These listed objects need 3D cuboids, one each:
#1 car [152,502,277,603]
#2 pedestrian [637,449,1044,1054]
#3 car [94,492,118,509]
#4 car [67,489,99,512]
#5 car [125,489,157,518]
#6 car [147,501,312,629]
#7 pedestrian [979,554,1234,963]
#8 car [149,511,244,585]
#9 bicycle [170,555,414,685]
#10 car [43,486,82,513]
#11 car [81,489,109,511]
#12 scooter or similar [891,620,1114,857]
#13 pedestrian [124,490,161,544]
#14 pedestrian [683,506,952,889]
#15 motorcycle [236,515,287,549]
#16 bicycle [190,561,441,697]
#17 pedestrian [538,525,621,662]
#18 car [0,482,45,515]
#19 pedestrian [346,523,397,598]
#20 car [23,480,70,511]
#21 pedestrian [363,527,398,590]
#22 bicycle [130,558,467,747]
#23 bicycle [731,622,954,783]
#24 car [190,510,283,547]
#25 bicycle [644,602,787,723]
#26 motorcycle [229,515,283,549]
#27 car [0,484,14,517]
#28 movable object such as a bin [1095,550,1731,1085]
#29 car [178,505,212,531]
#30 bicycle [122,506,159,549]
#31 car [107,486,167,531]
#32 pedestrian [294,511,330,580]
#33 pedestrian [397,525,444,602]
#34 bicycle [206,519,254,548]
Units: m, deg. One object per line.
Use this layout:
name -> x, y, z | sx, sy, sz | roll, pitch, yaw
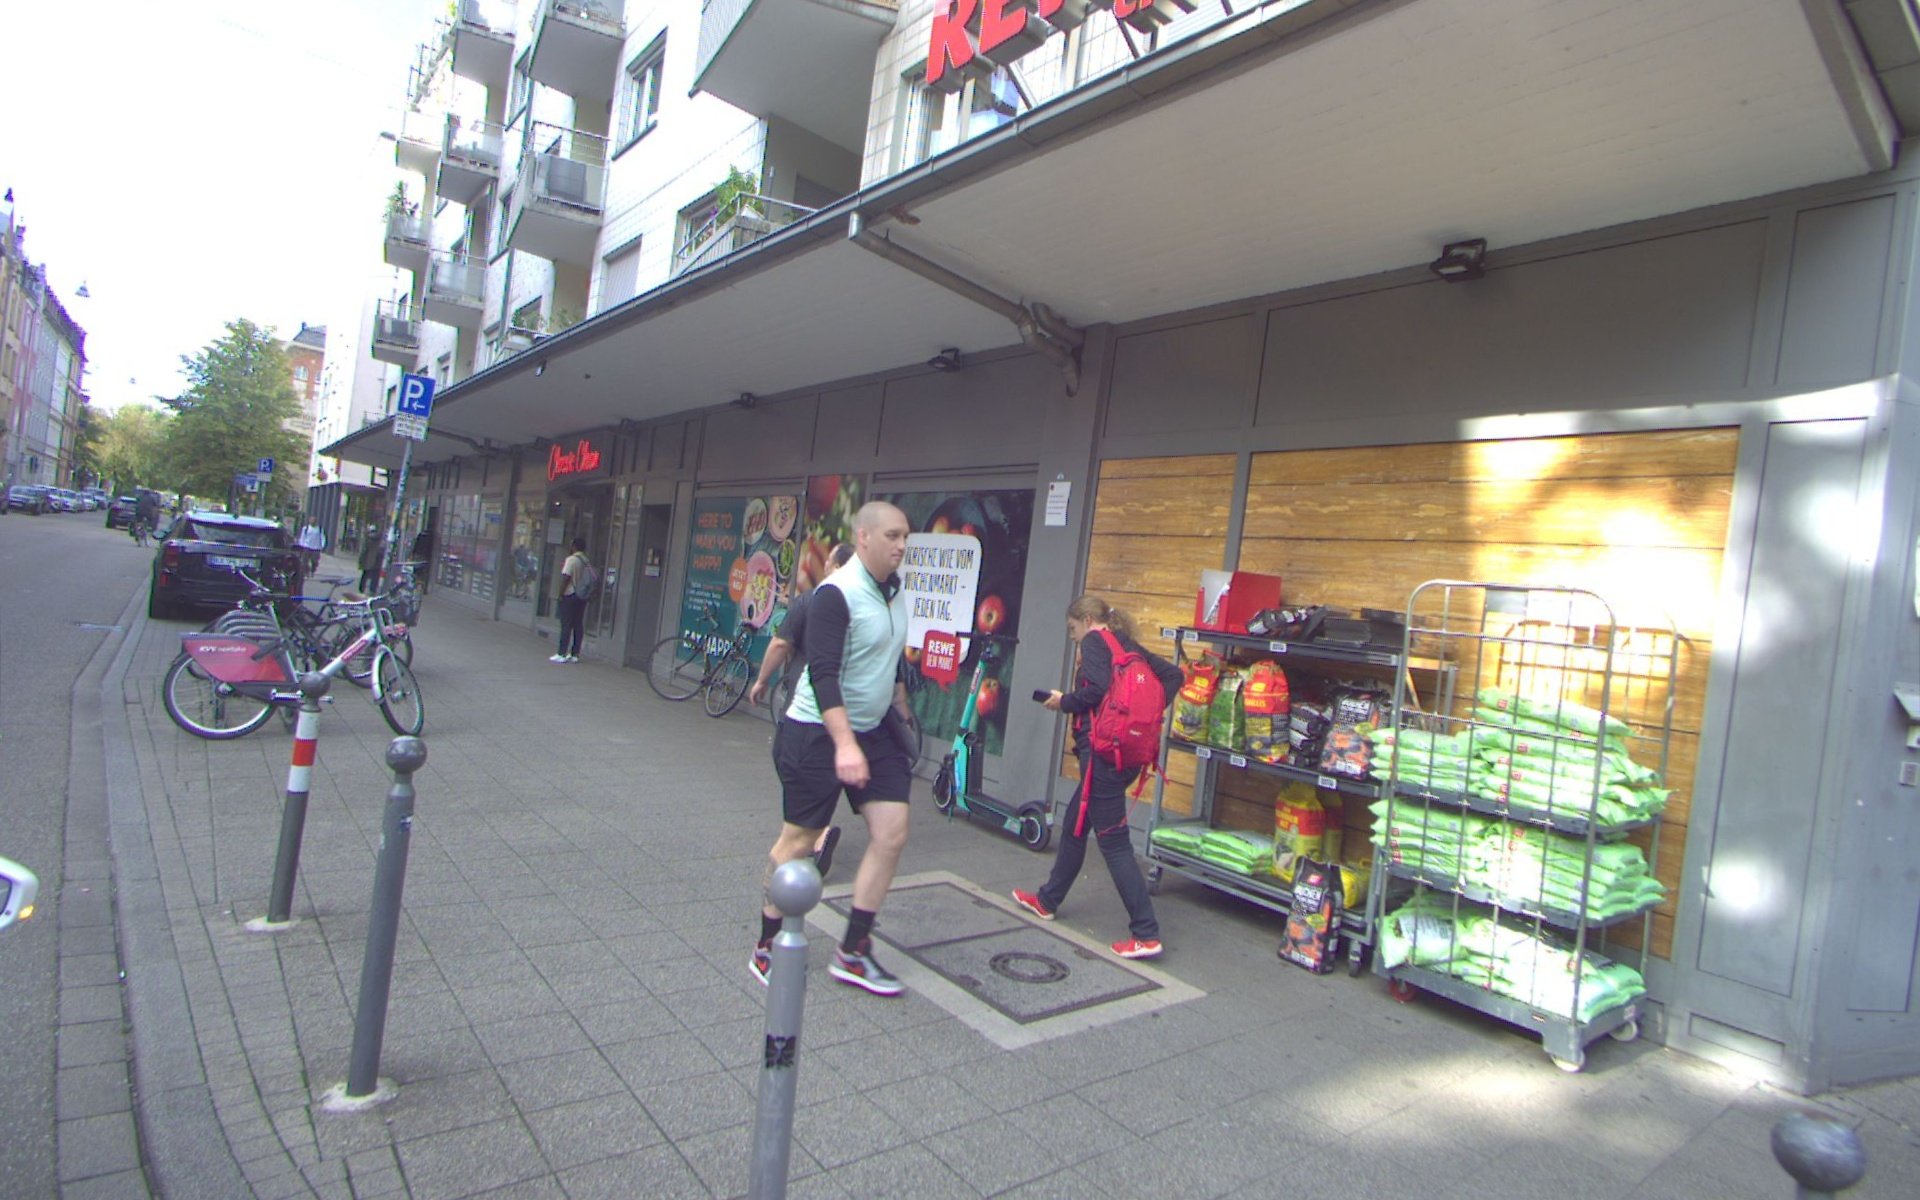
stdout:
car -> -14.533, -0.954, 19.525 | 1.680, 1.596, 3.860 | 7, 0, -39
pedestrian -> -0.448, 0.452, 3.736 | 1.032, 1.858, 0.882 | 7, 2, 40
car -> -93.288, -10.864, 109.961 | 1.683, 1.568, 3.826 | 9, -2, -38
car -> -74.362, -8.445, 85.340 | 1.683, 1.568, 3.826 | 9, -2, -38
car -> -67.811, -7.980, 83.379 | 1.775, 2.043, 3.845 | 9, -1, -38
car -> -11.325, -0.598, 15.612 | 1.782, 1.626, 3.883 | 5, 2, -37
pedestrian -> 0.661, 0.666, 4.609 | 0.718, 1.654, 0.704 | 4, 3, -40
car -> -18.239, -1.292, 24.135 | 1.587, 1.457, 3.989 | 7, 0, -36
bicycle -> -6.275, 0.224, 9.536 | 0.578, 1.085, 1.784 | 8, 2, 42
car -> -65.316, -7.306, 73.272 | 1.683, 1.568, 3.826 | 9, -2, -38
car -> -84.201, -9.708, 97.922 | 1.683, 1.842, 3.826 | 9, -2, -38
scooter or similar -> 0.235, 0.814, 6.359 | 0.629, 1.229, 1.241 | 4, 3, -40
pedestrian -> -27.104, -2.755, 33.358 | 0.715, 1.669, 0.921 | 9, 0, -37
pedestrian -> -0.776, 0.449, 5.312 | 0.845, 1.770, 1.037 | 4, 3, -40
motorcycle -> -37.348, -3.649, 53.795 | 2.135, 1.550, 0.680 | 5, 2, -34
bicycle -> -5.802, 0.291, 9.143 | 0.561, 1.085, 1.784 | 8, 2, 42
pedestrian -> -5.205, -0.094, 13.739 | 0.710, 1.770, 0.808 | 4, 3, -40
car -> -50.758, -5.478, 54.120 | 1.685, 1.383, 3.828 | 13, -4, -37
pedestrian -> -13.574, -0.924, 23.198 | 0.819, 1.608, 0.773 | 7, 1, -36
car -> -57.990, -6.605, 63.919 | 1.683, 1.567, 3.827 | 10, -2, -37
pedestrian -> -15.597, -1.124, 27.073 | 0.640, 1.609, 0.773 | 5, 2, -36
bicycle -> -4.691, 0.380, 7.205 | 1.873, 1.140, 0.897 | 5, 2, -40
bicycle -> -0.997, 0.807, 8.347 | 1.706, 1.056, 0.676 | 6, 0, 33
car -> -39.497, -3.900, 54.971 | 1.707, 1.566, 3.752 | 6, 0, 42
bicycle -> -2.599, 0.625, 10.549 | 0.737, 1.028, 1.764 | 4, 2, -38
motorcycle -> -35.822, -3.456, 51.212 | 2.135, 1.453, 0.758 | 5, 2, -34
car -> -44.750, -4.706, 45.921 | 1.683, 1.453, 3.828 | 10, -2, -37
movable object such as a bin -> 1.856, 0.740, 4.618 | 0.776, 1.766, 2.397 | 7, 0, -38
car -> -60.686, -6.503, 79.872 | 1.922, 1.657, 3.958 | 9, -1, -37
bicycle -> -27.187, -2.411, 33.404 | 0.715, 1.289, 1.864 | 9, -1, -37
car -> -40.925, -4.513, 50.102 | 1.956, 1.760, 4.000 | 9, -2, -37
pedestrian -> -17.416, -1.478, 27.022 | 0.608, 1.748, 1.115 | 6, 2, -37
pedestrian -> -13.912, -0.920, 25.938 | 0.698, 1.883, 0.643 | 7, 0, -9
bicycle -> -34.749, -3.166, 47.932 | 1.783, 1.174, 0.495 | 5, 2, -35
